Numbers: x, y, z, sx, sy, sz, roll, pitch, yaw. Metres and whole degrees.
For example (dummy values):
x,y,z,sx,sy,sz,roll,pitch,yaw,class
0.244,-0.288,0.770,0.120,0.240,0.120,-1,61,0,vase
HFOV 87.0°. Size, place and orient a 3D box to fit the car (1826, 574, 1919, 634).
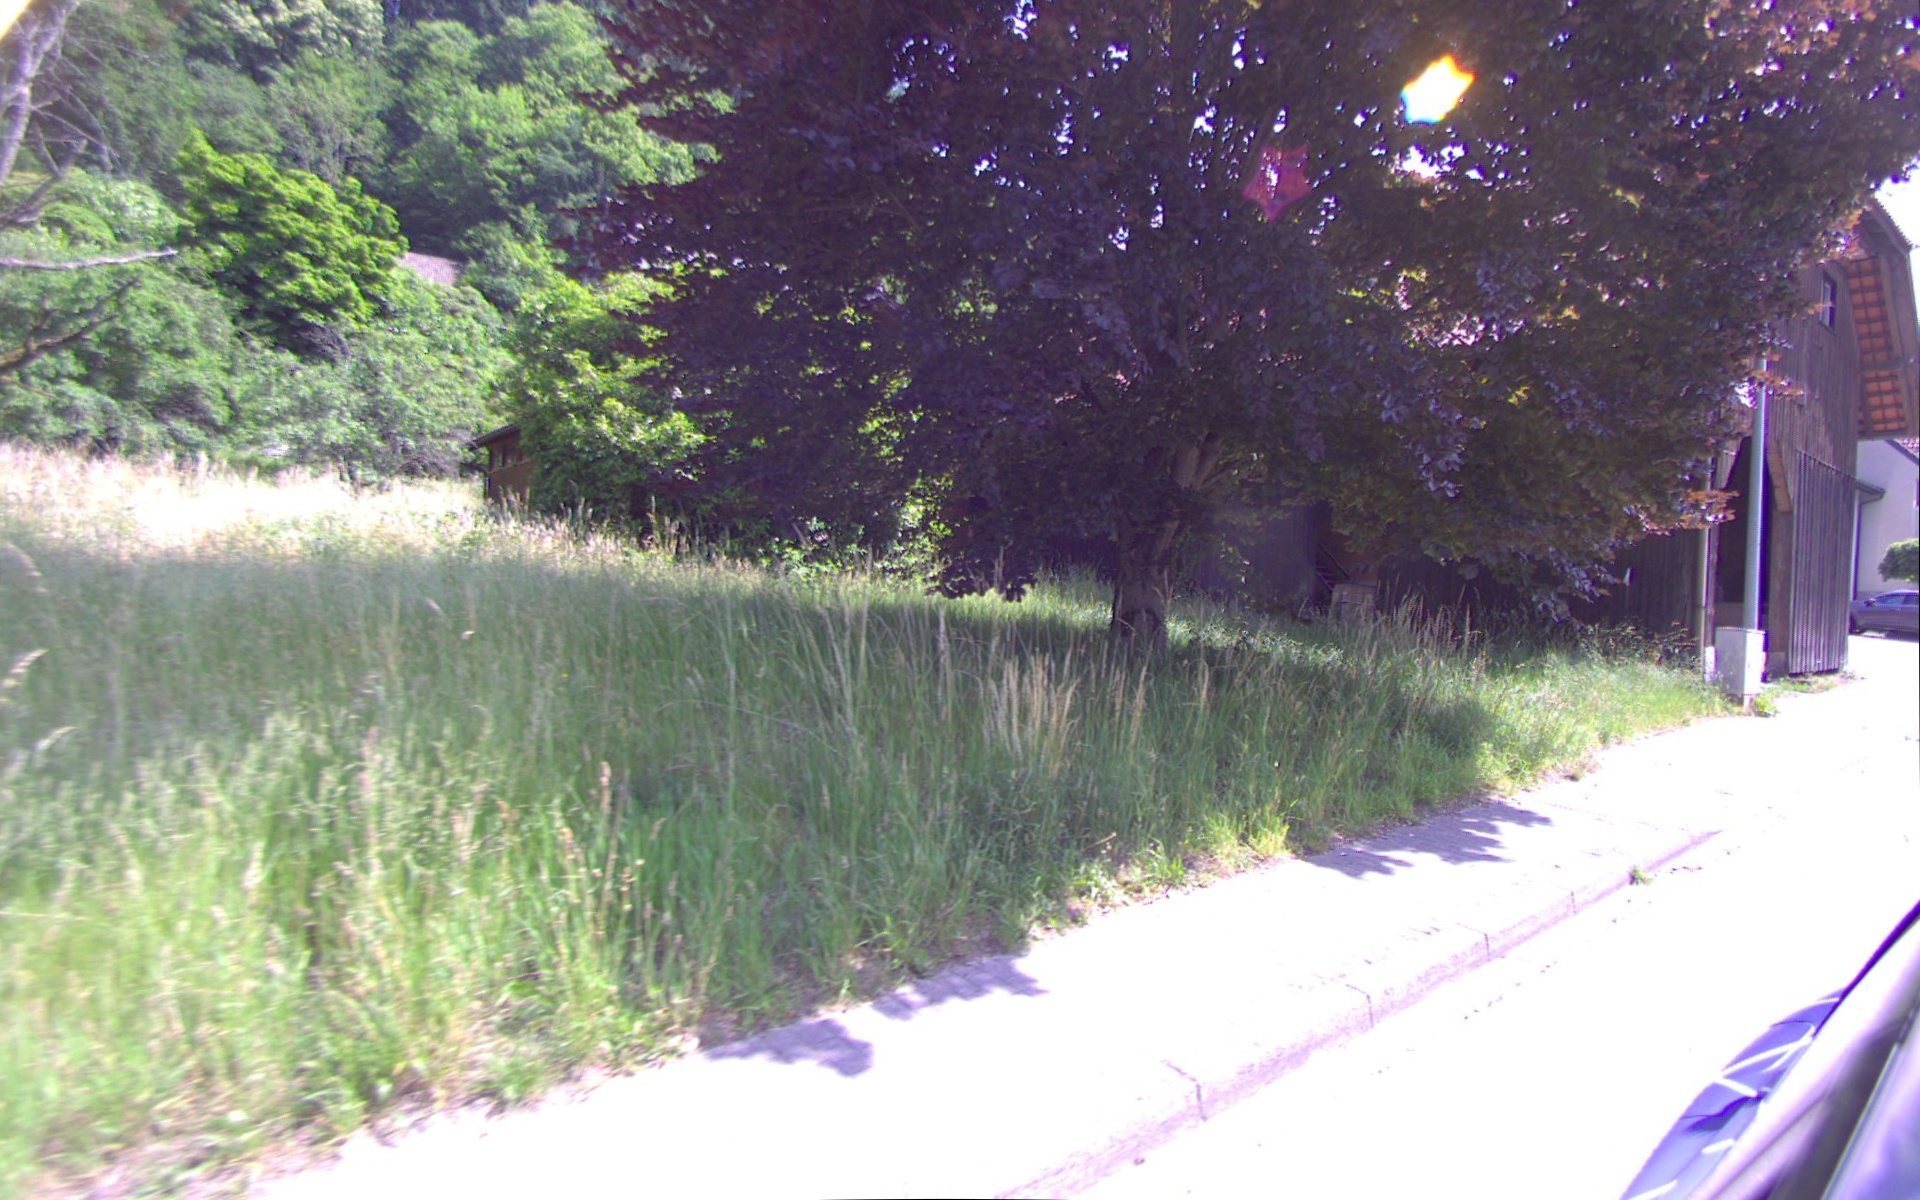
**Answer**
x,y,z,sx,sy,sz,roll,pitch,yaw,class
31.555,0.225,33.260,1.742,1.706,4.242,1,6,-33,car
